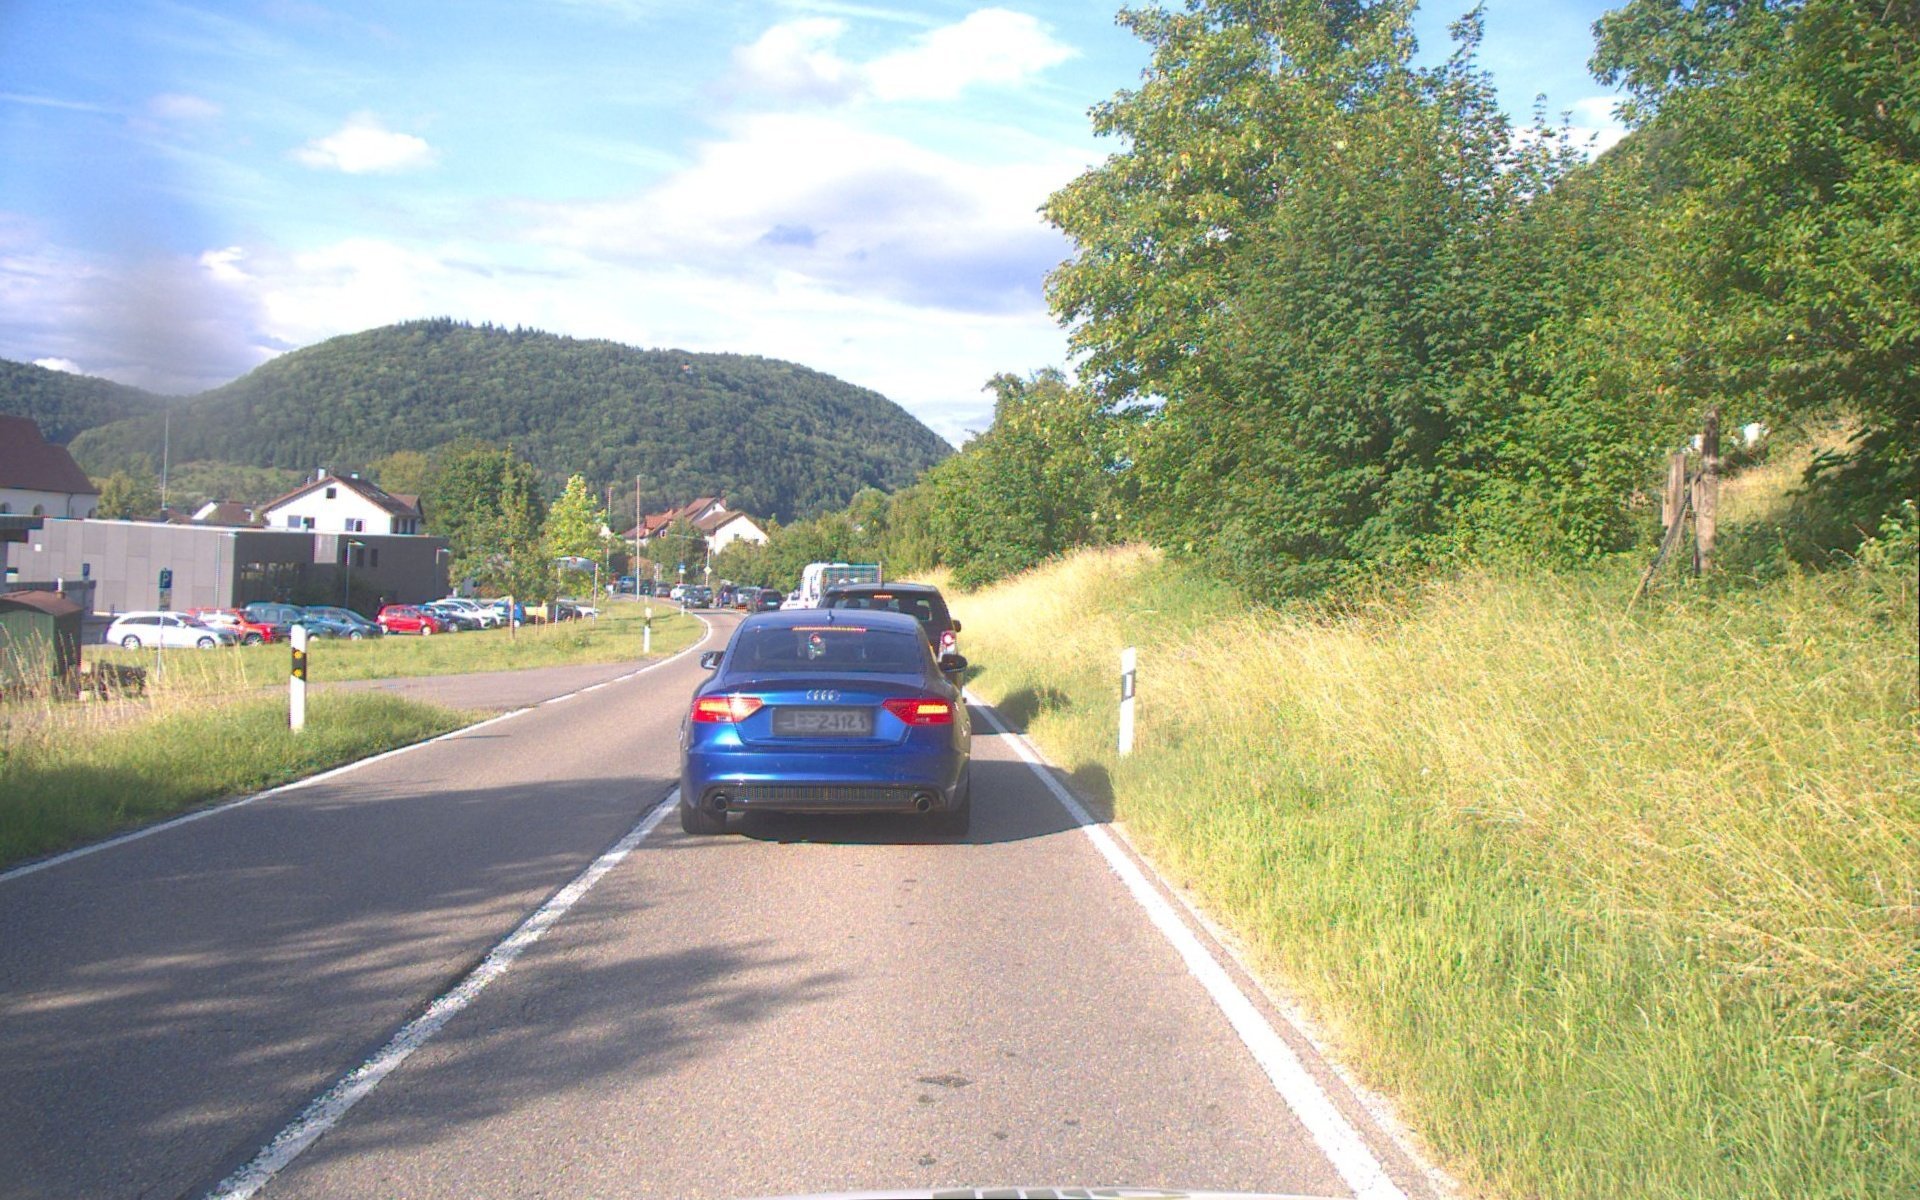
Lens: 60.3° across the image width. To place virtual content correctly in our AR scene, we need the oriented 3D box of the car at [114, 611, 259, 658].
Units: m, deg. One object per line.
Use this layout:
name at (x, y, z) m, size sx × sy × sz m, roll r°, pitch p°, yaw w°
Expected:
car at (-29.999, 1.336, 64.261) m, size 4.638 × 1.741 × 1.998 m, roll 1°, pitch 0°, yaw -5°

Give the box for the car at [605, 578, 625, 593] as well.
car at (-41.005, -1.679, 196.610) m, size 1.818 × 1.742 × 3.977 m, roll 1°, pitch 0°, yaw -20°

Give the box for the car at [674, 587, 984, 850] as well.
car at (-0.775, 0.679, 11.230) m, size 1.718 × 1.455 × 3.845 m, roll 1°, pitch 0°, yaw -1°

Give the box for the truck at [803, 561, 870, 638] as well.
truck at (-4.590, -0.009, 60.613) m, size 2.187 × 2.615 × 6.698 m, roll 1°, pitch 0°, yaw -7°

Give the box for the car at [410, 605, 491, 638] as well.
car at (-28.476, 1.182, 92.510) m, size 3.909 × 1.741 × 1.998 m, roll 1°, pitch 0°, yaw -5°

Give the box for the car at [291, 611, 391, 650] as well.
car at (-28.836, 1.416, 77.179) m, size 3.909 × 1.741 × 1.998 m, roll 1°, pitch 0°, yaw -5°

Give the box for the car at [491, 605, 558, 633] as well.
car at (-28.369, 1.257, 107.832) m, size 3.909 × 1.741 × 1.998 m, roll 1°, pitch 0°, yaw -5°

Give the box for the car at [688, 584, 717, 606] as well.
car at (-21.488, -0.392, 137.984) m, size 1.816 × 1.742 × 3.981 m, roll 1°, pitch 0°, yaw -17°

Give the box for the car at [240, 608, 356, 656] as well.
car at (-29.178, 1.391, 73.027) m, size 4.320 × 2.043 × 1.998 m, roll 1°, pitch 0°, yaw -5°

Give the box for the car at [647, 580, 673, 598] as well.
car at (-29.825, -1.066, 164.400) m, size 1.818 × 1.742 × 3.977 m, roll 1°, pitch 0°, yaw -20°

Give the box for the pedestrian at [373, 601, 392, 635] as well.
pedestrian at (-35.290, 1.085, 101.127) m, size 0.808 × 2.049 × 0.973 m, roll 1°, pitch -1°, yaw -2°

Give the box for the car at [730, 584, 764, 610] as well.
car at (-14.973, -0.181, 116.088) m, size 1.815 × 1.742 × 3.983 m, roll 1°, pitch 0°, yaw -15°

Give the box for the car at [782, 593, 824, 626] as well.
car at (-7.459, 0.437, 78.281) m, size 1.811 × 1.508 × 3.992 m, roll 1°, pitch 0°, yaw -8°

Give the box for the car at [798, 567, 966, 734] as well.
car at (-0.851, 0.538, 19.104) m, size 1.718 × 1.710 × 3.845 m, roll 1°, pitch 0°, yaw -1°

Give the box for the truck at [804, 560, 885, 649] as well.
truck at (-3.564, 0.155, 52.030) m, size 2.184 × 2.615 × 6.102 m, roll 1°, pitch 0°, yaw -1°

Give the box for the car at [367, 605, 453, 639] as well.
car at (-29.187, 1.149, 87.905) m, size 3.909 × 1.741 × 1.998 m, roll 1°, pitch 0°, yaw -5°

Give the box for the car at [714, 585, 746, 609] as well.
car at (-17.189, -0.223, 123.491) m, size 1.816 × 1.742 × 3.981 m, roll 1°, pitch 0°, yaw -17°

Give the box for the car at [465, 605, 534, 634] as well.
car at (-29.268, 1.230, 105.211) m, size 3.909 × 1.741 × 1.998 m, roll 1°, pitch 0°, yaw -5°

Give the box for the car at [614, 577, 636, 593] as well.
car at (-37.772, -1.646, 186.554) m, size 1.818 × 1.742 × 3.977 m, roll 1°, pitch 0°, yaw -20°

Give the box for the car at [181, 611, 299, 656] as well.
car at (-29.249, 1.363, 67.312) m, size 3.909 × 1.741 × 1.998 m, roll 1°, pitch 0°, yaw -5°

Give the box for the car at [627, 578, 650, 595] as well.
car at (-34.438, -1.398, 176.974) m, size 1.818 × 1.742 × 3.977 m, roll 1°, pitch 0°, yaw -20°

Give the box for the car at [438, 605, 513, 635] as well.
car at (-29.107, 1.205, 99.428) m, size 3.909 × 1.741 × 1.998 m, roll 1°, pitch 0°, yaw -5°

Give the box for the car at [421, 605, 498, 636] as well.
car at (-29.082, 1.190, 96.144) m, size 3.909 × 1.741 × 1.998 m, roll 1°, pitch 0°, yaw -5°

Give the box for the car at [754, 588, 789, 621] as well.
car at (-10.464, 0.241, 91.650) m, size 1.811 × 1.742 × 3.992 m, roll 1°, pitch 0°, yaw -8°

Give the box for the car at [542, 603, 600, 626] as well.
car at (-28.726, 1.053, 122.264) m, size 3.909 × 1.606 × 1.751 m, roll 1°, pitch 0°, yaw -5°

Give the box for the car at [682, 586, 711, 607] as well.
car at (-18.526, -0.226, 116.014) m, size 1.675 × 1.455 × 4.036 m, roll 1°, pitch 0°, yaw -14°
